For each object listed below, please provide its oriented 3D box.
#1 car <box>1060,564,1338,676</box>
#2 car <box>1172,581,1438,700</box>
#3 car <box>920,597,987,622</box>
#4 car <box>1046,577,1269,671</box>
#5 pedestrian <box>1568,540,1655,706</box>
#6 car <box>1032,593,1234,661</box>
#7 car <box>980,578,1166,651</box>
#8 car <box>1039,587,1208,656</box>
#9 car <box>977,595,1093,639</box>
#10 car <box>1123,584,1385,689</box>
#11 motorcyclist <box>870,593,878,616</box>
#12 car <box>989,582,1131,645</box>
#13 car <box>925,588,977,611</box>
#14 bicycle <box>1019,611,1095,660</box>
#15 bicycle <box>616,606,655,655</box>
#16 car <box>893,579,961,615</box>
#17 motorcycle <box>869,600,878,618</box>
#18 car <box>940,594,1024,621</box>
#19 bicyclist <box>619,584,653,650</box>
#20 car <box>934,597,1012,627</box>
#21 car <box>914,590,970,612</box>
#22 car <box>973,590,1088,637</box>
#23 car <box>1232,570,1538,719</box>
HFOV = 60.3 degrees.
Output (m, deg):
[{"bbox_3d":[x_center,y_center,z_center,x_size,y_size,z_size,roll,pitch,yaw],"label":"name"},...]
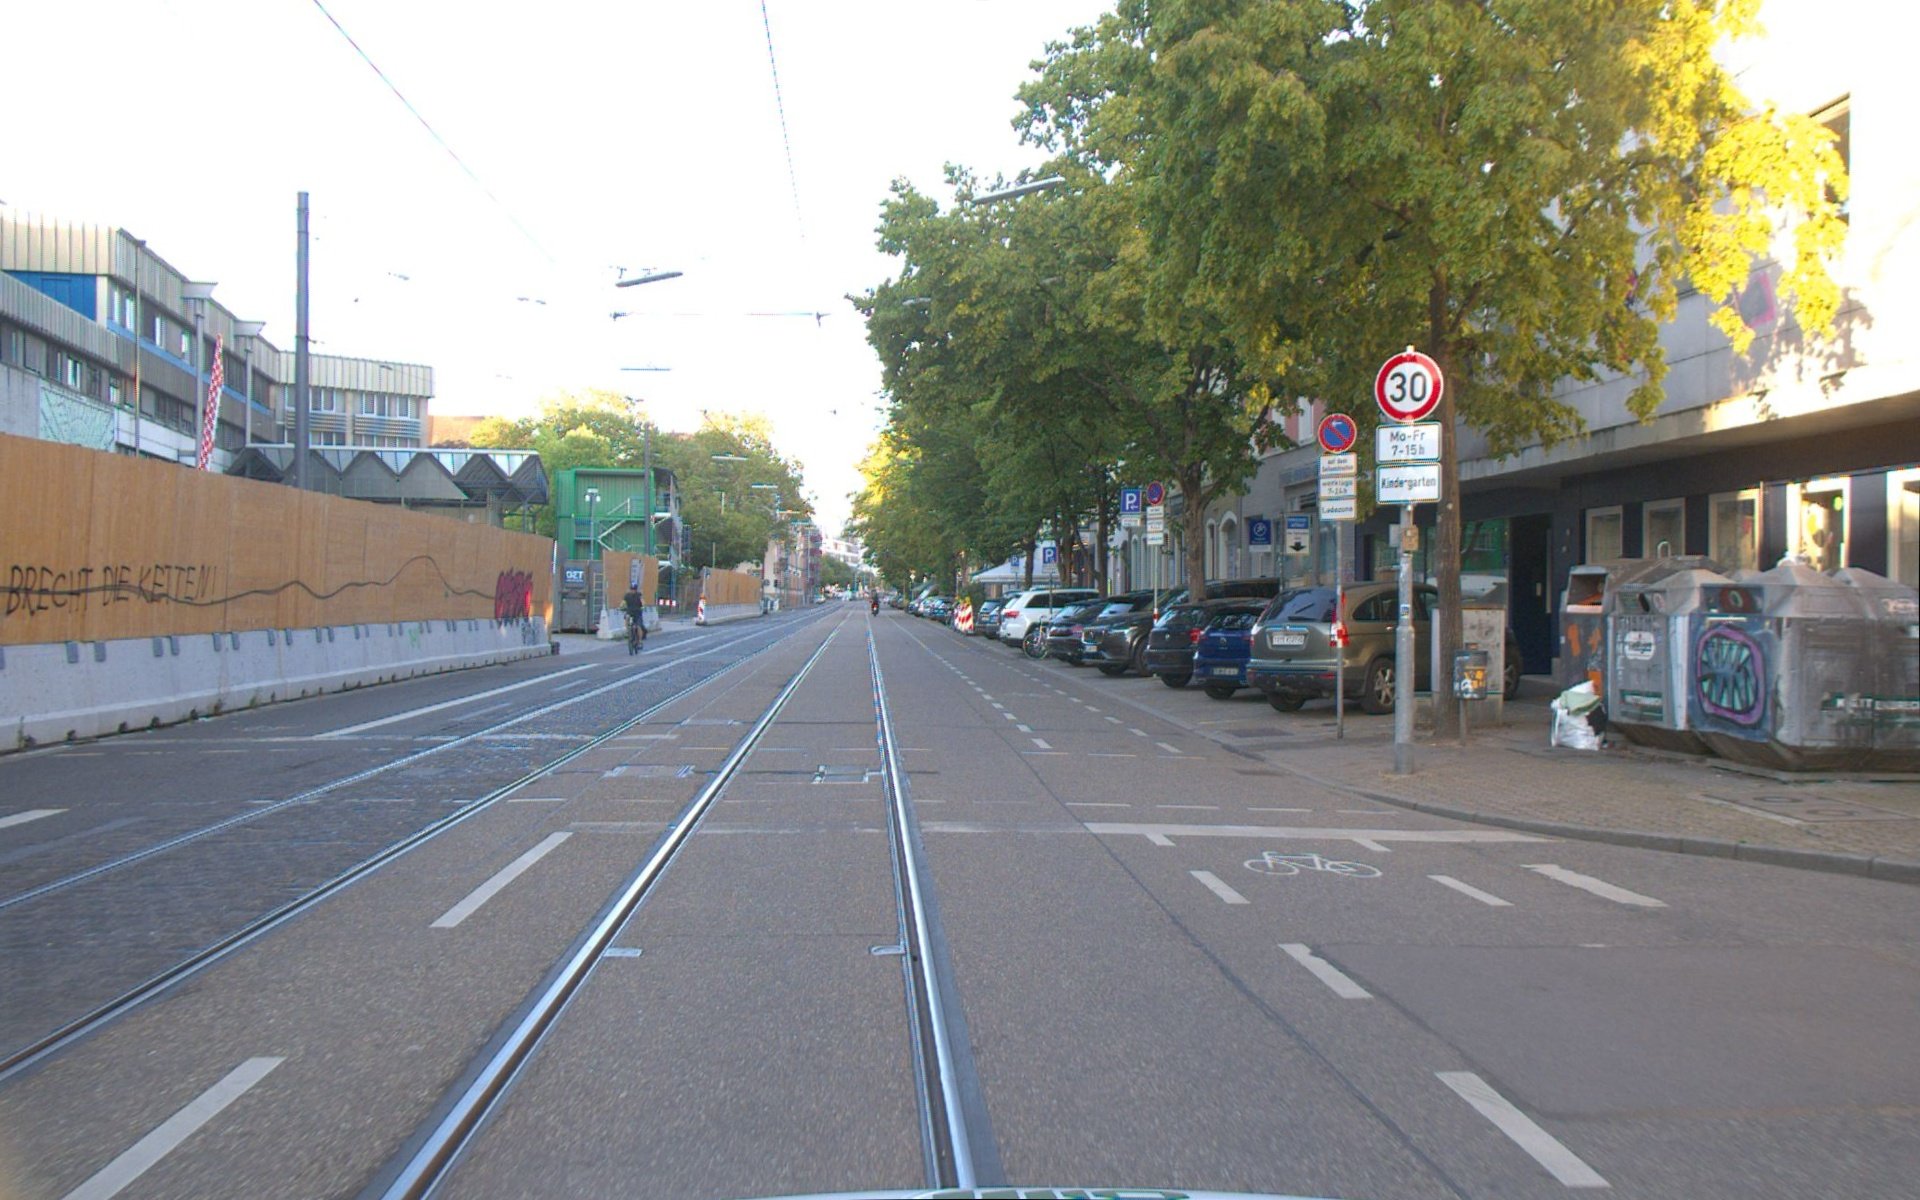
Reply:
[{"bbox_3d":[4.654,0.354,32.280,4.895,1.858,2.193,-3,0,-22],"label":"car"},{"bbox_3d":[5.284,0.576,25.205,3.849,1.528,1.792,-3,1,-34],"label":"car"},{"bbox_3d":[-0.456,0.639,111.021,4.179,1.576,2.012,-1,0,-14],"label":"car"},{"bbox_3d":[4.111,0.473,34.447,4.154,1.677,1.963,-3,0,-22],"label":"car"},{"bbox_3d":[8.207,0.281,20.852,0.678,2.020,0.785,-2,0,-4],"label":"pedestrian"},{"bbox_3d":[3.895,0.590,37.225,4.159,1.451,1.960,0,0,-26],"label":"car"},{"bbox_3d":[2.965,0.364,43.841,4.563,1.717,2.004,-2,0,-9],"label":"car"},{"bbox_3d":[3.951,0.505,39.940,3.705,1.451,1.711,-3,1,-28],"label":"car"},{"bbox_3d":[2.640,0.586,57.903,3.731,1.432,1.689,-2,0,-29],"label":"car"},{"bbox_3d":[5.011,0.582,28.097,4.114,1.490,1.950,-3,1,-32],"label":"car"},{"bbox_3d":[-6.711,0.366,128.815,0.632,1.727,1.025,1,-1,-4],"label":"motorcyclist"},{"bbox_3d":[3.169,0.403,52.488,4.107,1.838,1.986,-2,0,-32],"label":"car"},{"bbox_3d":[-0.687,-0.035,124.461,3.872,1.648,1.919,-1,-1,-3],"label":"car"},{"bbox_3d":[2.445,0.887,41.731,1.806,1.122,0.495,-3,1,-18],"label":"bicycle"},{"bbox_3d":[-8.479,0.775,43.238,0.753,1.249,1.935,0,0,-4],"label":"bicycle"},{"bbox_3d":[-2.635,-0.233,132.842,5.021,2.689,2.009,-2,0,-21],"label":"car"},{"bbox_3d":[-6.713,0.684,128.722,0.632,1.393,1.810,1,-1,-4],"label":"motorcycle"},{"bbox_3d":[1.169,0.403,88.450,4.104,1.451,1.811,0,0,-23],"label":"car"},{"bbox_3d":[-8.464,0.437,43.259,0.753,1.694,1.017,0,0,-4],"label":"bicyclist"},{"bbox_3d":[0.734,0.680,93.586,4.059,1.496,1.811,-3,0,-22],"label":"car"},{"bbox_3d":[-1.360,0.075,128.271,3.904,1.512,1.903,-1,-1,-28],"label":"car"},{"bbox_3d":[2.583,0.481,60.535,3.918,1.580,1.689,-2,0,-29],"label":"car"},{"bbox_3d":[5.759,0.540,22.208,4.126,1.693,1.817,-3,1,-38],"label":"car"}]
